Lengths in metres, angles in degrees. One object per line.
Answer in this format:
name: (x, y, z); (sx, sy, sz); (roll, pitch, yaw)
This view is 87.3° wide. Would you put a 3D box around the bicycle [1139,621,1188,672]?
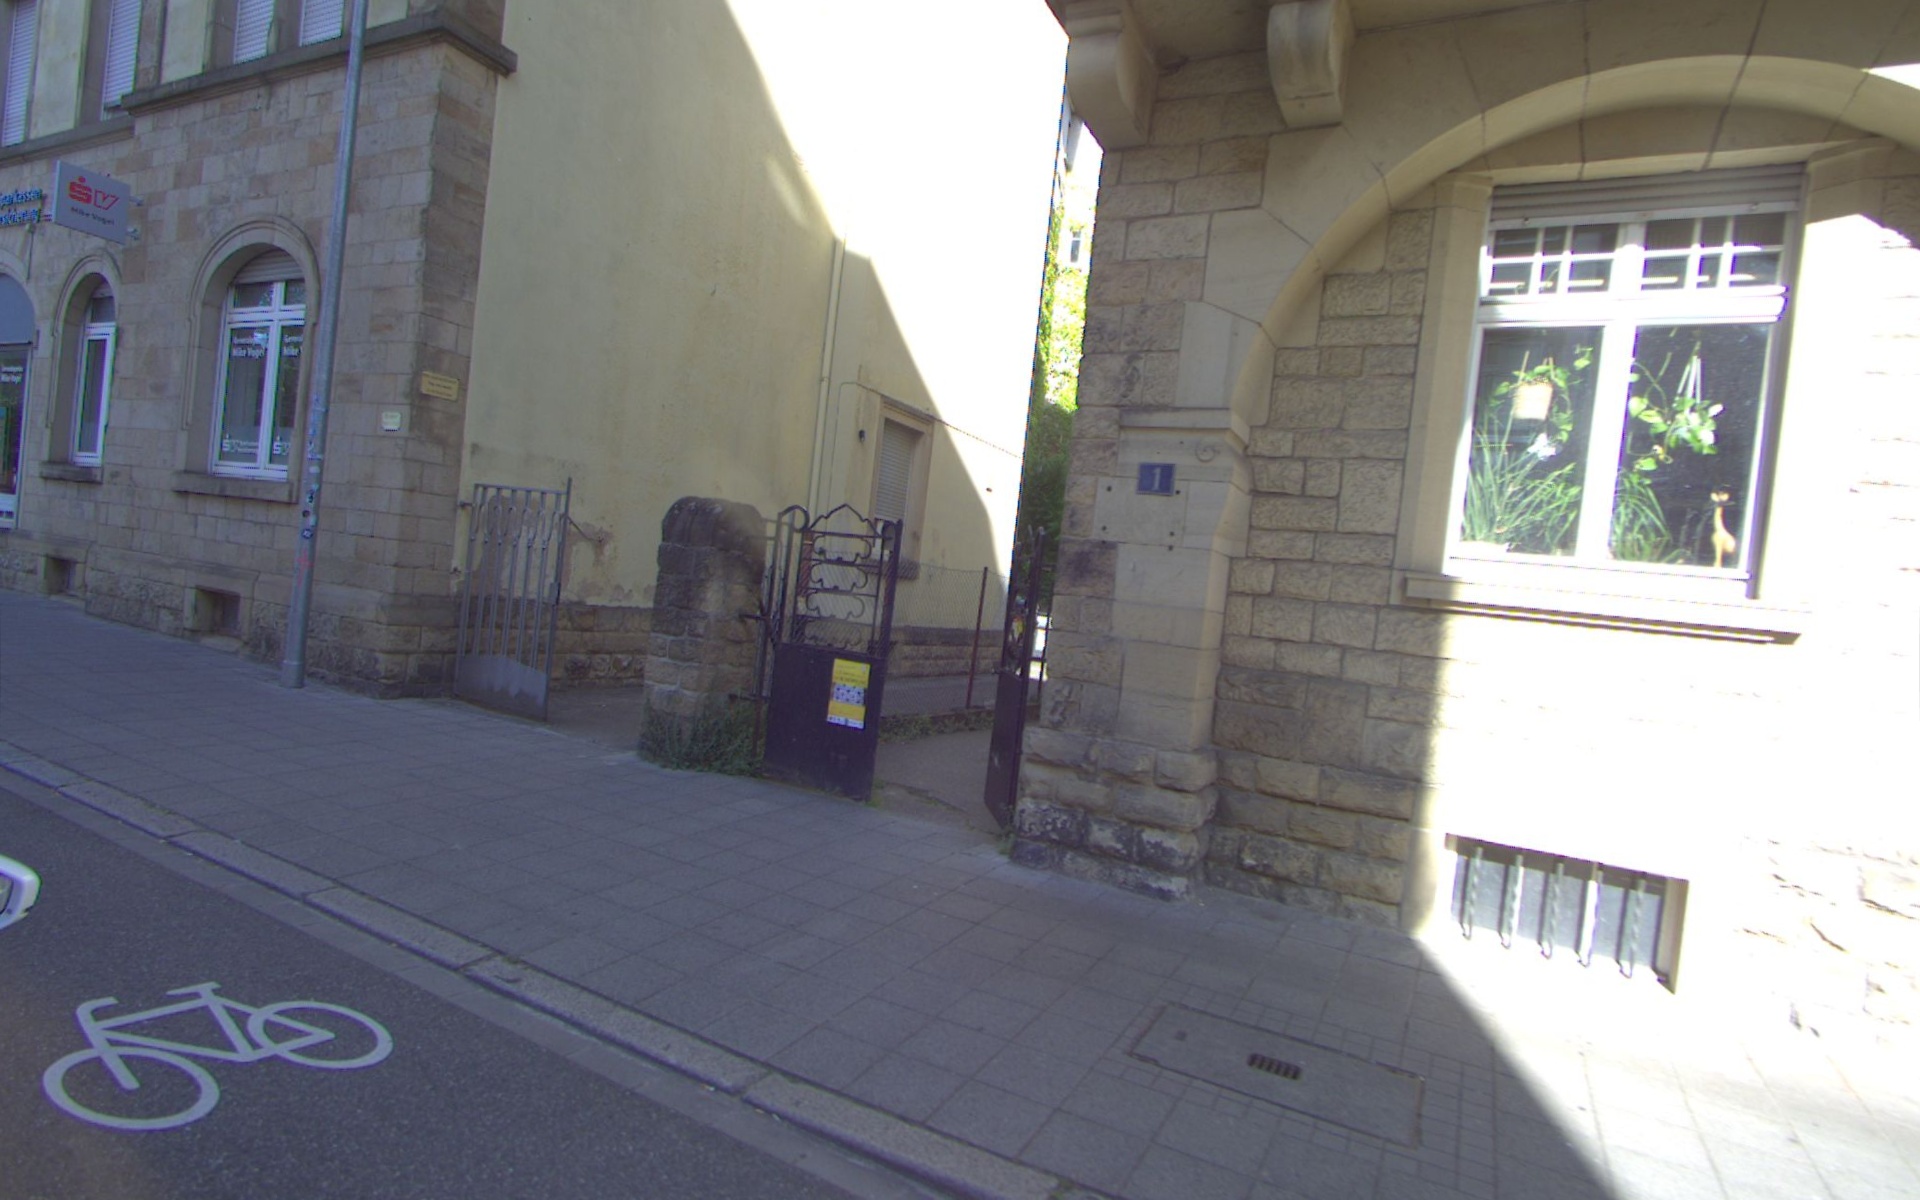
bicycle: (5.585, 1.261, 27.828); (0.860, 1.180, 2.659); (7, 1, 4)
